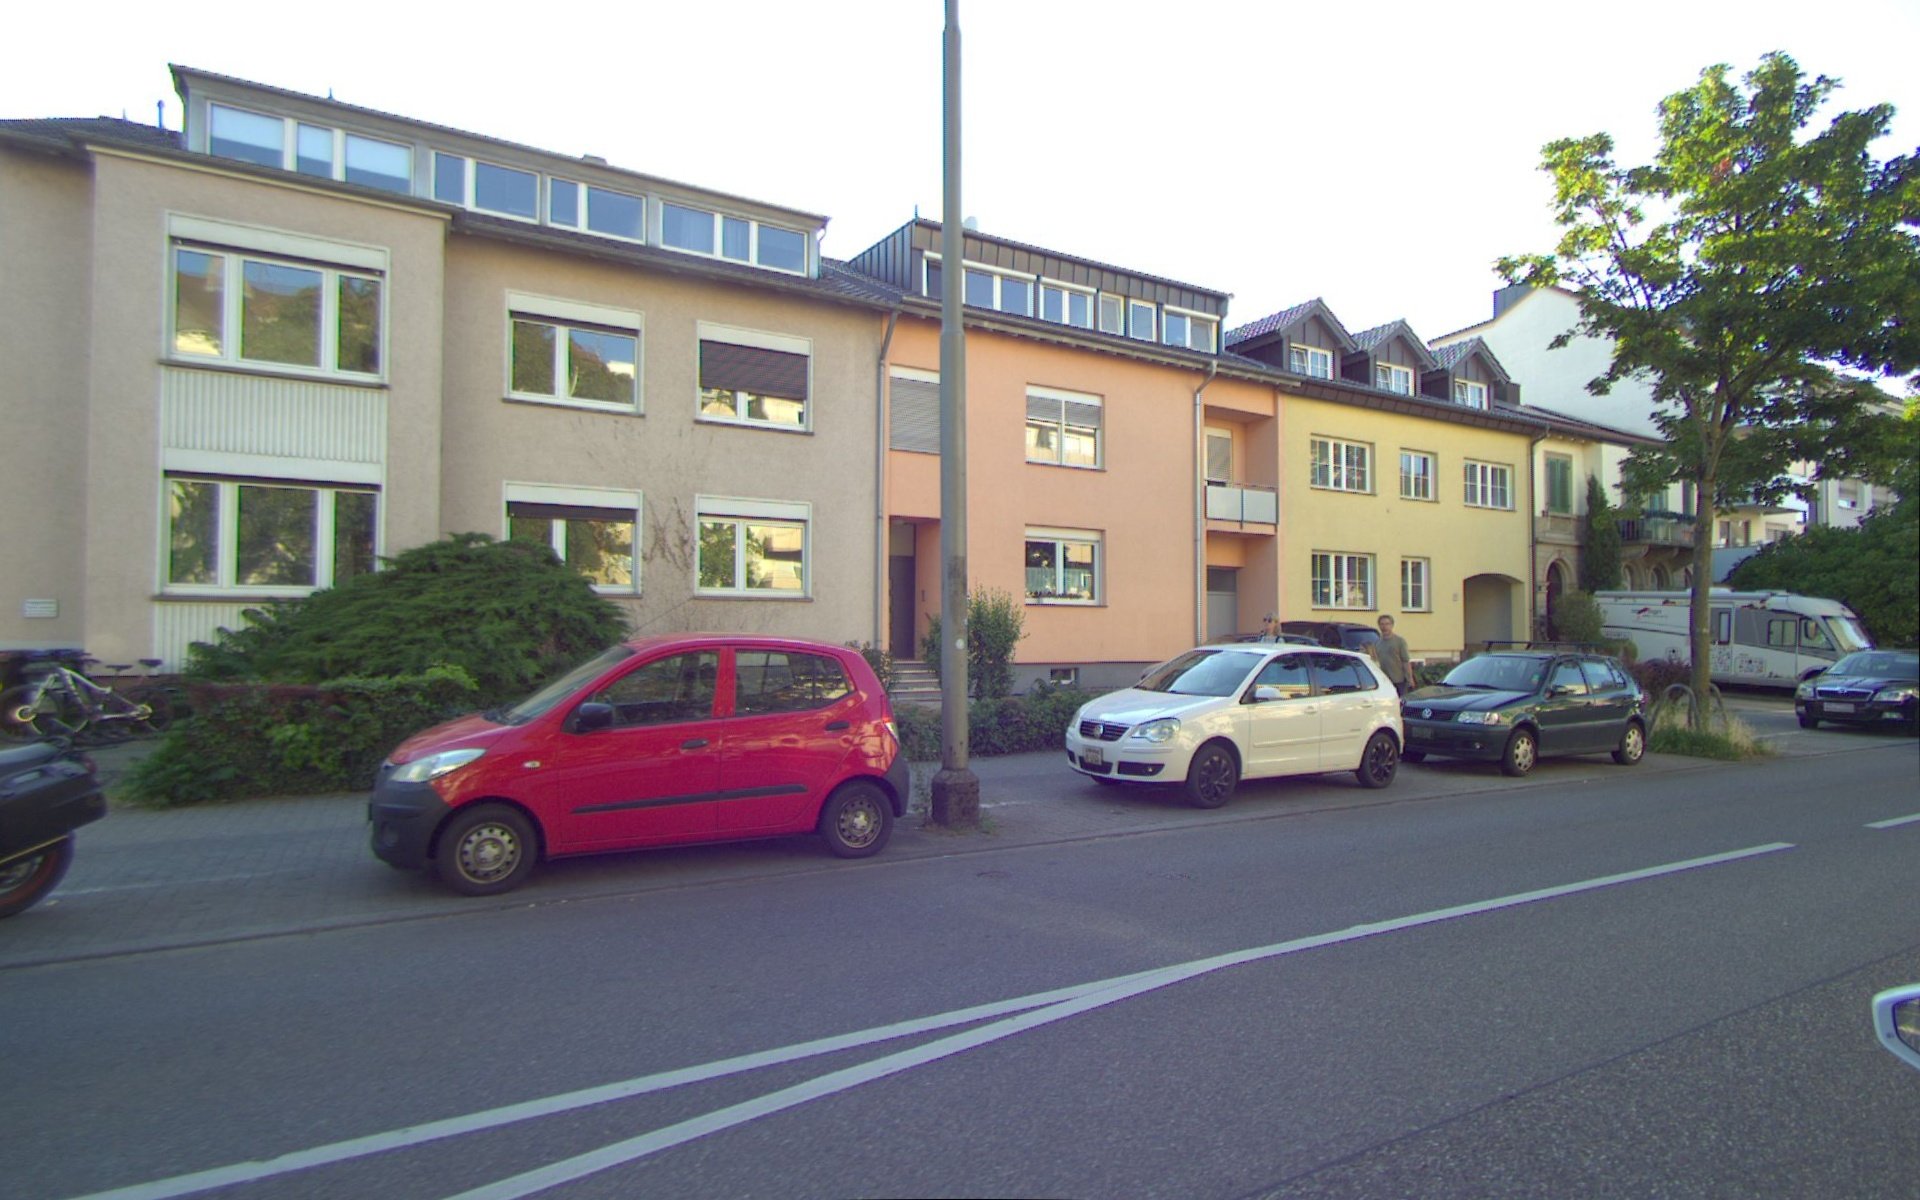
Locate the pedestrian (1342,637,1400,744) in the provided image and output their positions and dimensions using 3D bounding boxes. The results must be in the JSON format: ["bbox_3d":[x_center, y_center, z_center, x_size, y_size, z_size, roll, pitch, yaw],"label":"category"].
[{"bbox_3d":[6.027,1.308,14.740,0.535,1.515,0.588,1,-2,-27],"label":"pedestrian"}]

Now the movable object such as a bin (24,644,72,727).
[{"bbox_3d":[-11.743,1.090,12.943,0.345,1.051,0.433,1,-2,-30],"label":"movable object such as a bin"}]

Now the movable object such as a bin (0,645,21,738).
[{"bbox_3d":[-11.823,1.102,12.125,0.579,1.104,0.486,1,-2,-29],"label":"movable object such as a bin"}]

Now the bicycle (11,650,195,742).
[{"bbox_3d":[-10.685,1.177,12.590,1.691,1.100,0.331,2,-2,-31],"label":"bicycle"}]

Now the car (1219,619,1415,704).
[{"bbox_3d":[7.972,1.311,22.794,1.843,1.657,3.970,1,0,-28],"label":"car"}]

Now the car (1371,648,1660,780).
[{"bbox_3d":[6.960,1.323,12.536,3.623,1.415,1.536,2,-2,-30],"label":"car"}]

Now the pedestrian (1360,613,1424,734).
[{"bbox_3d":[6.664,1.125,15.522,0.564,1.816,0.711,1,-2,-27],"label":"pedestrian"}]

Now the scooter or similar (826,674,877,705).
[{"bbox_3d":[-2.073,1.706,19.209,0.859,0.516,0.399,-2,-1,-29],"label":"scooter or similar"}]

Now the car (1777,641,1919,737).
[{"bbox_3d":[17.131,1.556,18.425,4.463,1.514,1.859,2,-1,-30],"label":"car"}]

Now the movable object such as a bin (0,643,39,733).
[{"bbox_3d":[-12.123,1.105,12.694,0.579,1.104,0.486,1,-2,-29],"label":"movable object such as a bin"}]

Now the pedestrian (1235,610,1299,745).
[{"bbox_3d":[4.276,1.062,14.001,0.499,1.816,0.711,1,-2,-27],"label":"pedestrian"}]

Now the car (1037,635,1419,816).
[{"bbox_3d":[2.813,1.146,10.303,3.846,1.543,1.585,2,-2,-31],"label":"car"}]

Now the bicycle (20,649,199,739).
[{"bbox_3d":[-10.875,1.177,12.905,1.691,1.100,0.331,2,-2,-31],"label":"bicycle"}]

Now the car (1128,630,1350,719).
[{"bbox_3d":[4.979,1.280,17.849,3.706,1.427,1.658,1,-3,-29],"label":"car"}]

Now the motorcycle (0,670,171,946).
[{"bbox_3d":[-5.362,1.003,4.722,1.164,1.282,2.362,-1,-3,36],"label":"motorcycle"}]

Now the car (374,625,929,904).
[{"bbox_3d":[-2.085,0.976,7.071,3.392,1.543,1.587,2,-2,-27],"label":"car"}]

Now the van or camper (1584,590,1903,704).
[{"bbox_3d":[21.943,1.178,28.600,2.324,2.809,6.764,2,0,-30],"label":"van or camper"}]

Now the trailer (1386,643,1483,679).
[{"bbox_3d":[15.429,1.961,32.725,1.608,0.973,2.393,2,0,-29],"label":"trailer"}]
